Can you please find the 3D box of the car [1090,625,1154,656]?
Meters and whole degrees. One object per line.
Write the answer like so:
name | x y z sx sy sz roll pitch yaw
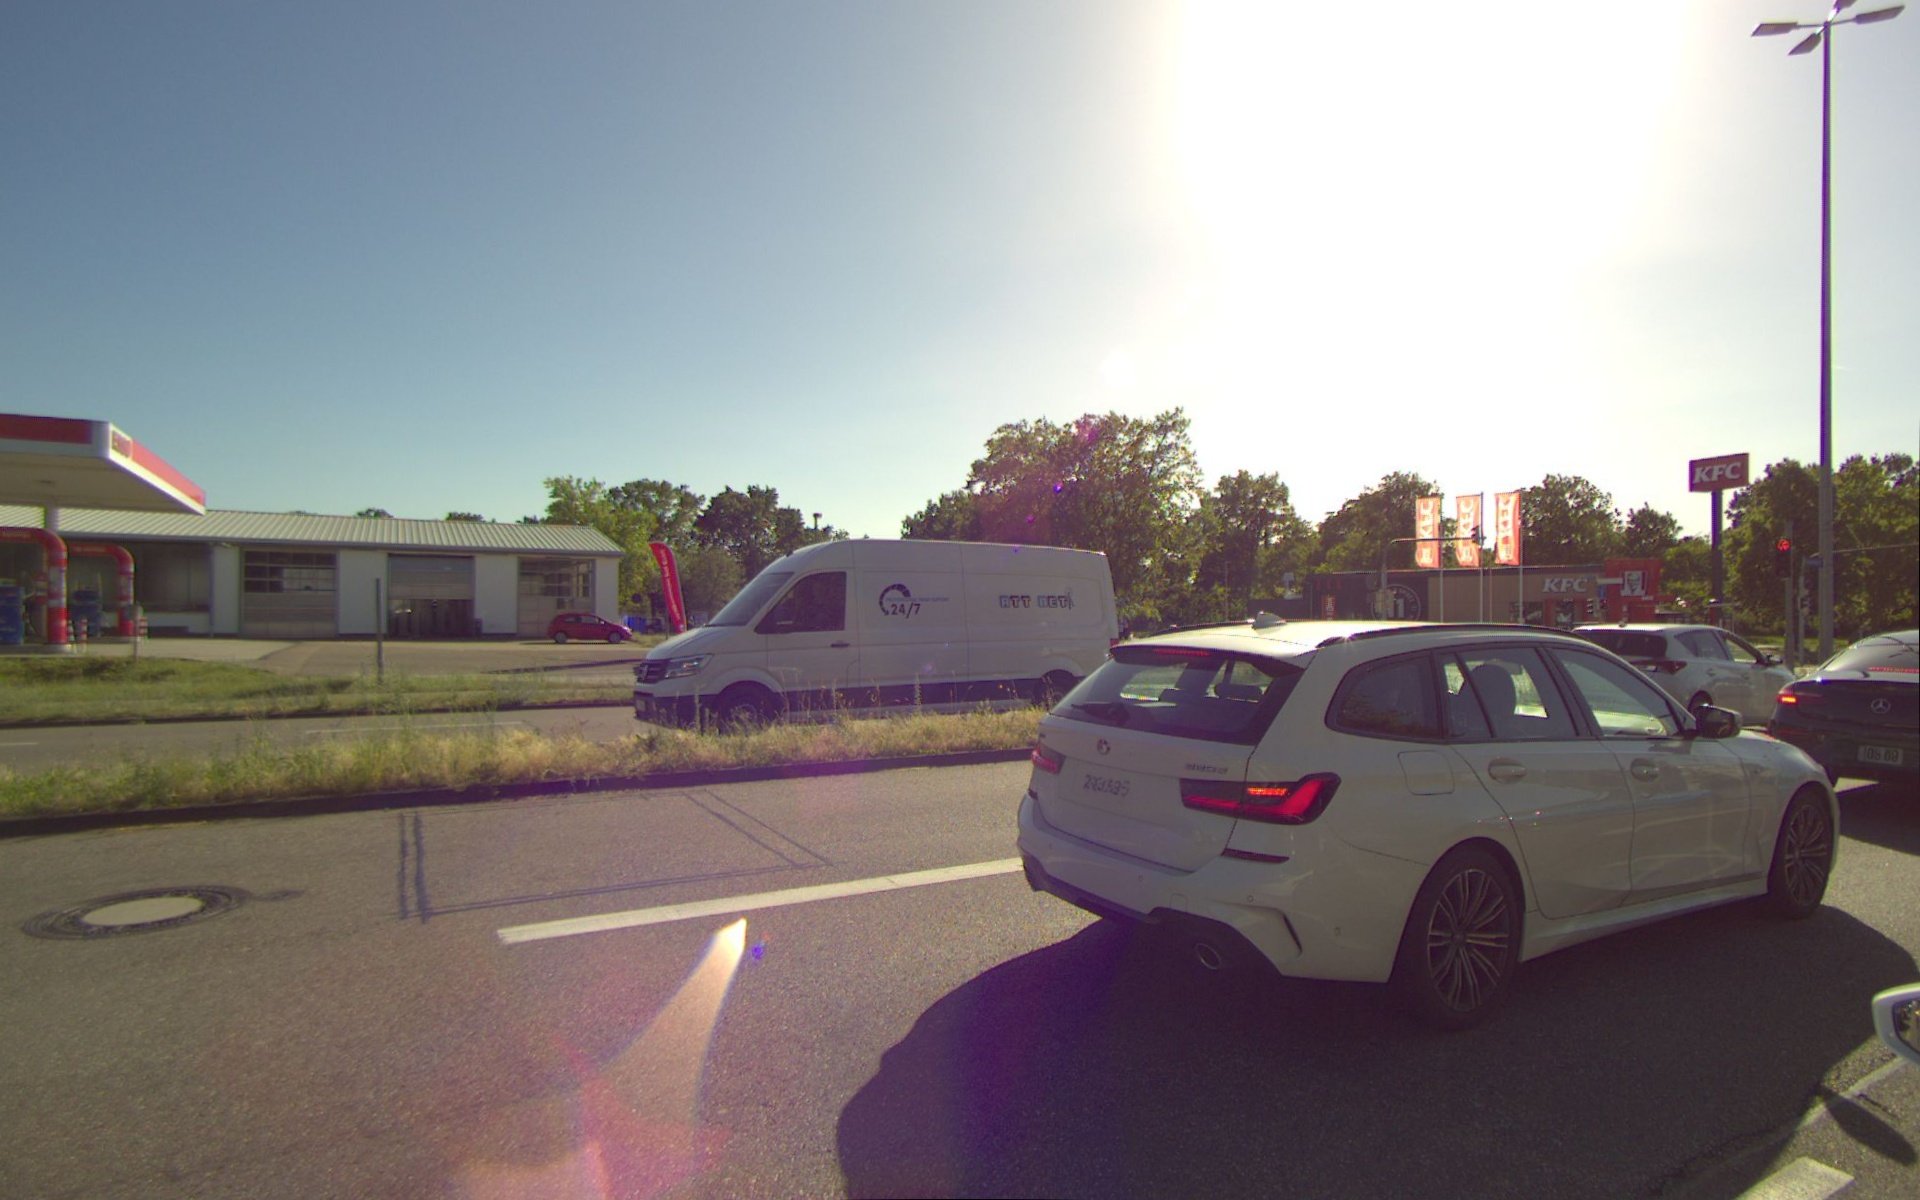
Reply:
car | 9.865 2.426 61.367 1.738 1.751 3.969 1 -1 -29

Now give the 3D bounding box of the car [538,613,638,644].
car | -18.312 1.404 49.410 4.486 1.458 1.741 1 -1 -26

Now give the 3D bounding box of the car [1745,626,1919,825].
car | 8.796 0.962 8.623 4.409 1.433 1.760 1 -1 -30

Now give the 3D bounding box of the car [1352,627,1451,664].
car | 21.021 2.138 47.987 1.806 1.616 4.011 1 -1 -34

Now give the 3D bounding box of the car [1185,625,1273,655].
car | 14.287 2.116 53.583 1.840 1.449 4.700 0 0 -28

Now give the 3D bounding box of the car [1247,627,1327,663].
car | 17.678 2.405 54.471 1.802 1.805 4.021 1 -1 -28

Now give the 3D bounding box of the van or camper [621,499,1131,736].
van or camper | -0.957 0.307 13.711 6.675 2.606 2.168 1 -3 -31

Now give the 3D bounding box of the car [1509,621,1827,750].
car | 9.485 1.031 13.382 4.352 1.448 1.848 1 -1 -30

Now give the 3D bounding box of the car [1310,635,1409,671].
car | 18.185 2.382 45.885 1.801 1.448 4.022 1 -1 -27

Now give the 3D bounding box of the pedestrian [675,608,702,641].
pedestrian | -14.538 1.309 53.798 1.089 1.787 1.148 1 -1 -35

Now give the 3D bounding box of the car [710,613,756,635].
car | -19.935 2.117 88.255 2.085 1.840 4.000 0 -1 20

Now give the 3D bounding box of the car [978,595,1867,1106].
car | 2.417 0.795 4.902 4.409 1.529 1.760 1 -1 -30
